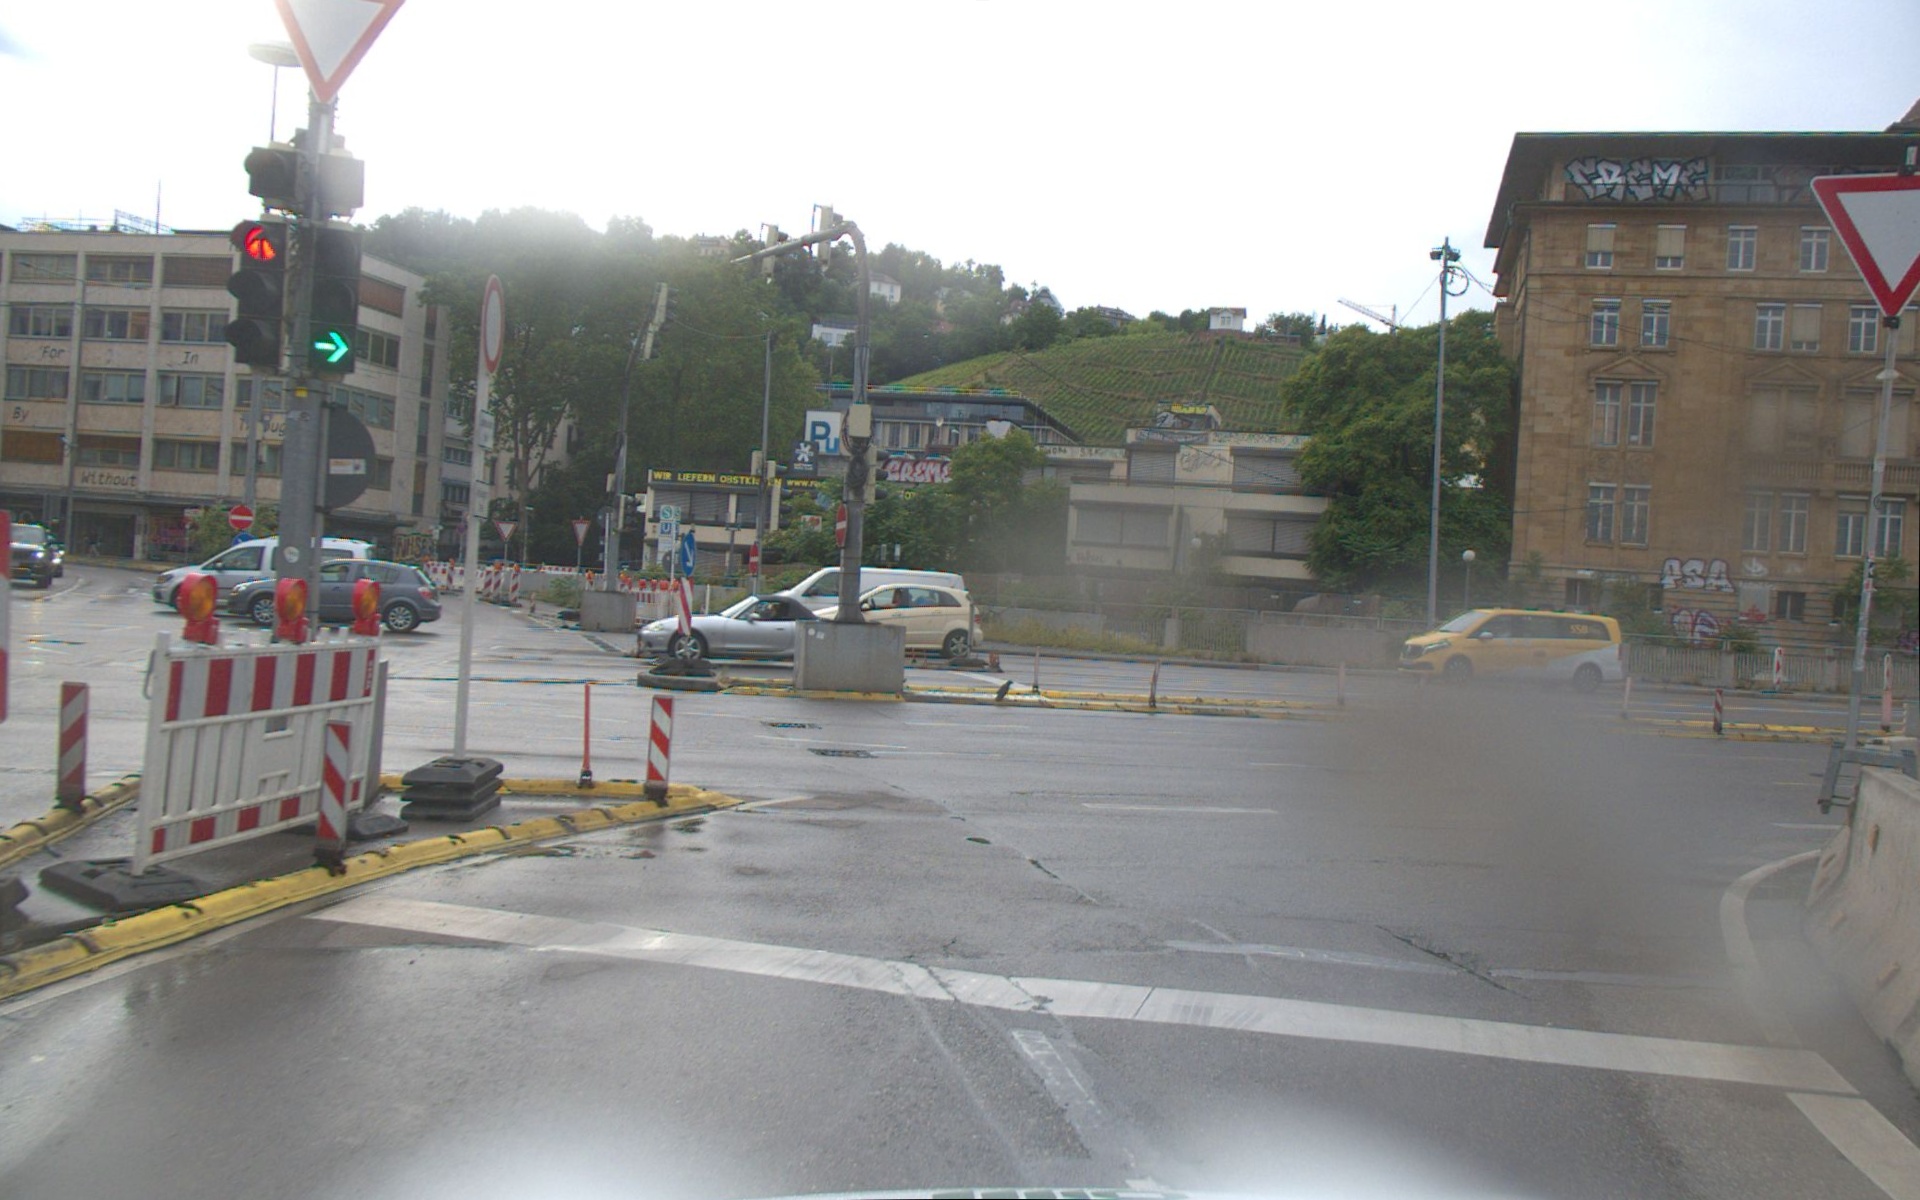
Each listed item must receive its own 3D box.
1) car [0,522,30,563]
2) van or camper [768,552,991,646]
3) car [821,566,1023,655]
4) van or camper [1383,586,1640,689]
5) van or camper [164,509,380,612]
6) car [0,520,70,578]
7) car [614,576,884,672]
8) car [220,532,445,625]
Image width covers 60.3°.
[{"bbox_3d":[-41.088,-2.511,71.084,1.748,1.601,3.964,6,-1,-28],"label":"car"},{"bbox_3d":[-1.983,-0.037,40.372,5.109,1.926,1.881,4,1,-15],"label":"van or camper"},{"bbox_3d":[-0.890,0.223,37.530,4.286,1.702,1.844,4,1,-10],"label":"car"},{"bbox_3d":[13.406,0.888,40.355,5.489,2.090,2.241,4,1,-11],"label":"van or camper"},{"bbox_3d":[-15.519,-0.888,37.540,4.171,2.013,1.844,4,1,-15],"label":"van or camper"},{"bbox_3d":[-26.862,-1.486,47.400,1.804,1.511,3.976,3,1,-21],"label":"car"},{"bbox_3d":[-3.653,0.409,28.524,4.436,1.332,1.638,4,1,-12],"label":"car"},{"bbox_3d":[-12.947,-0.442,34.385,4.098,1.626,1.844,4,1,-15],"label":"car"}]
